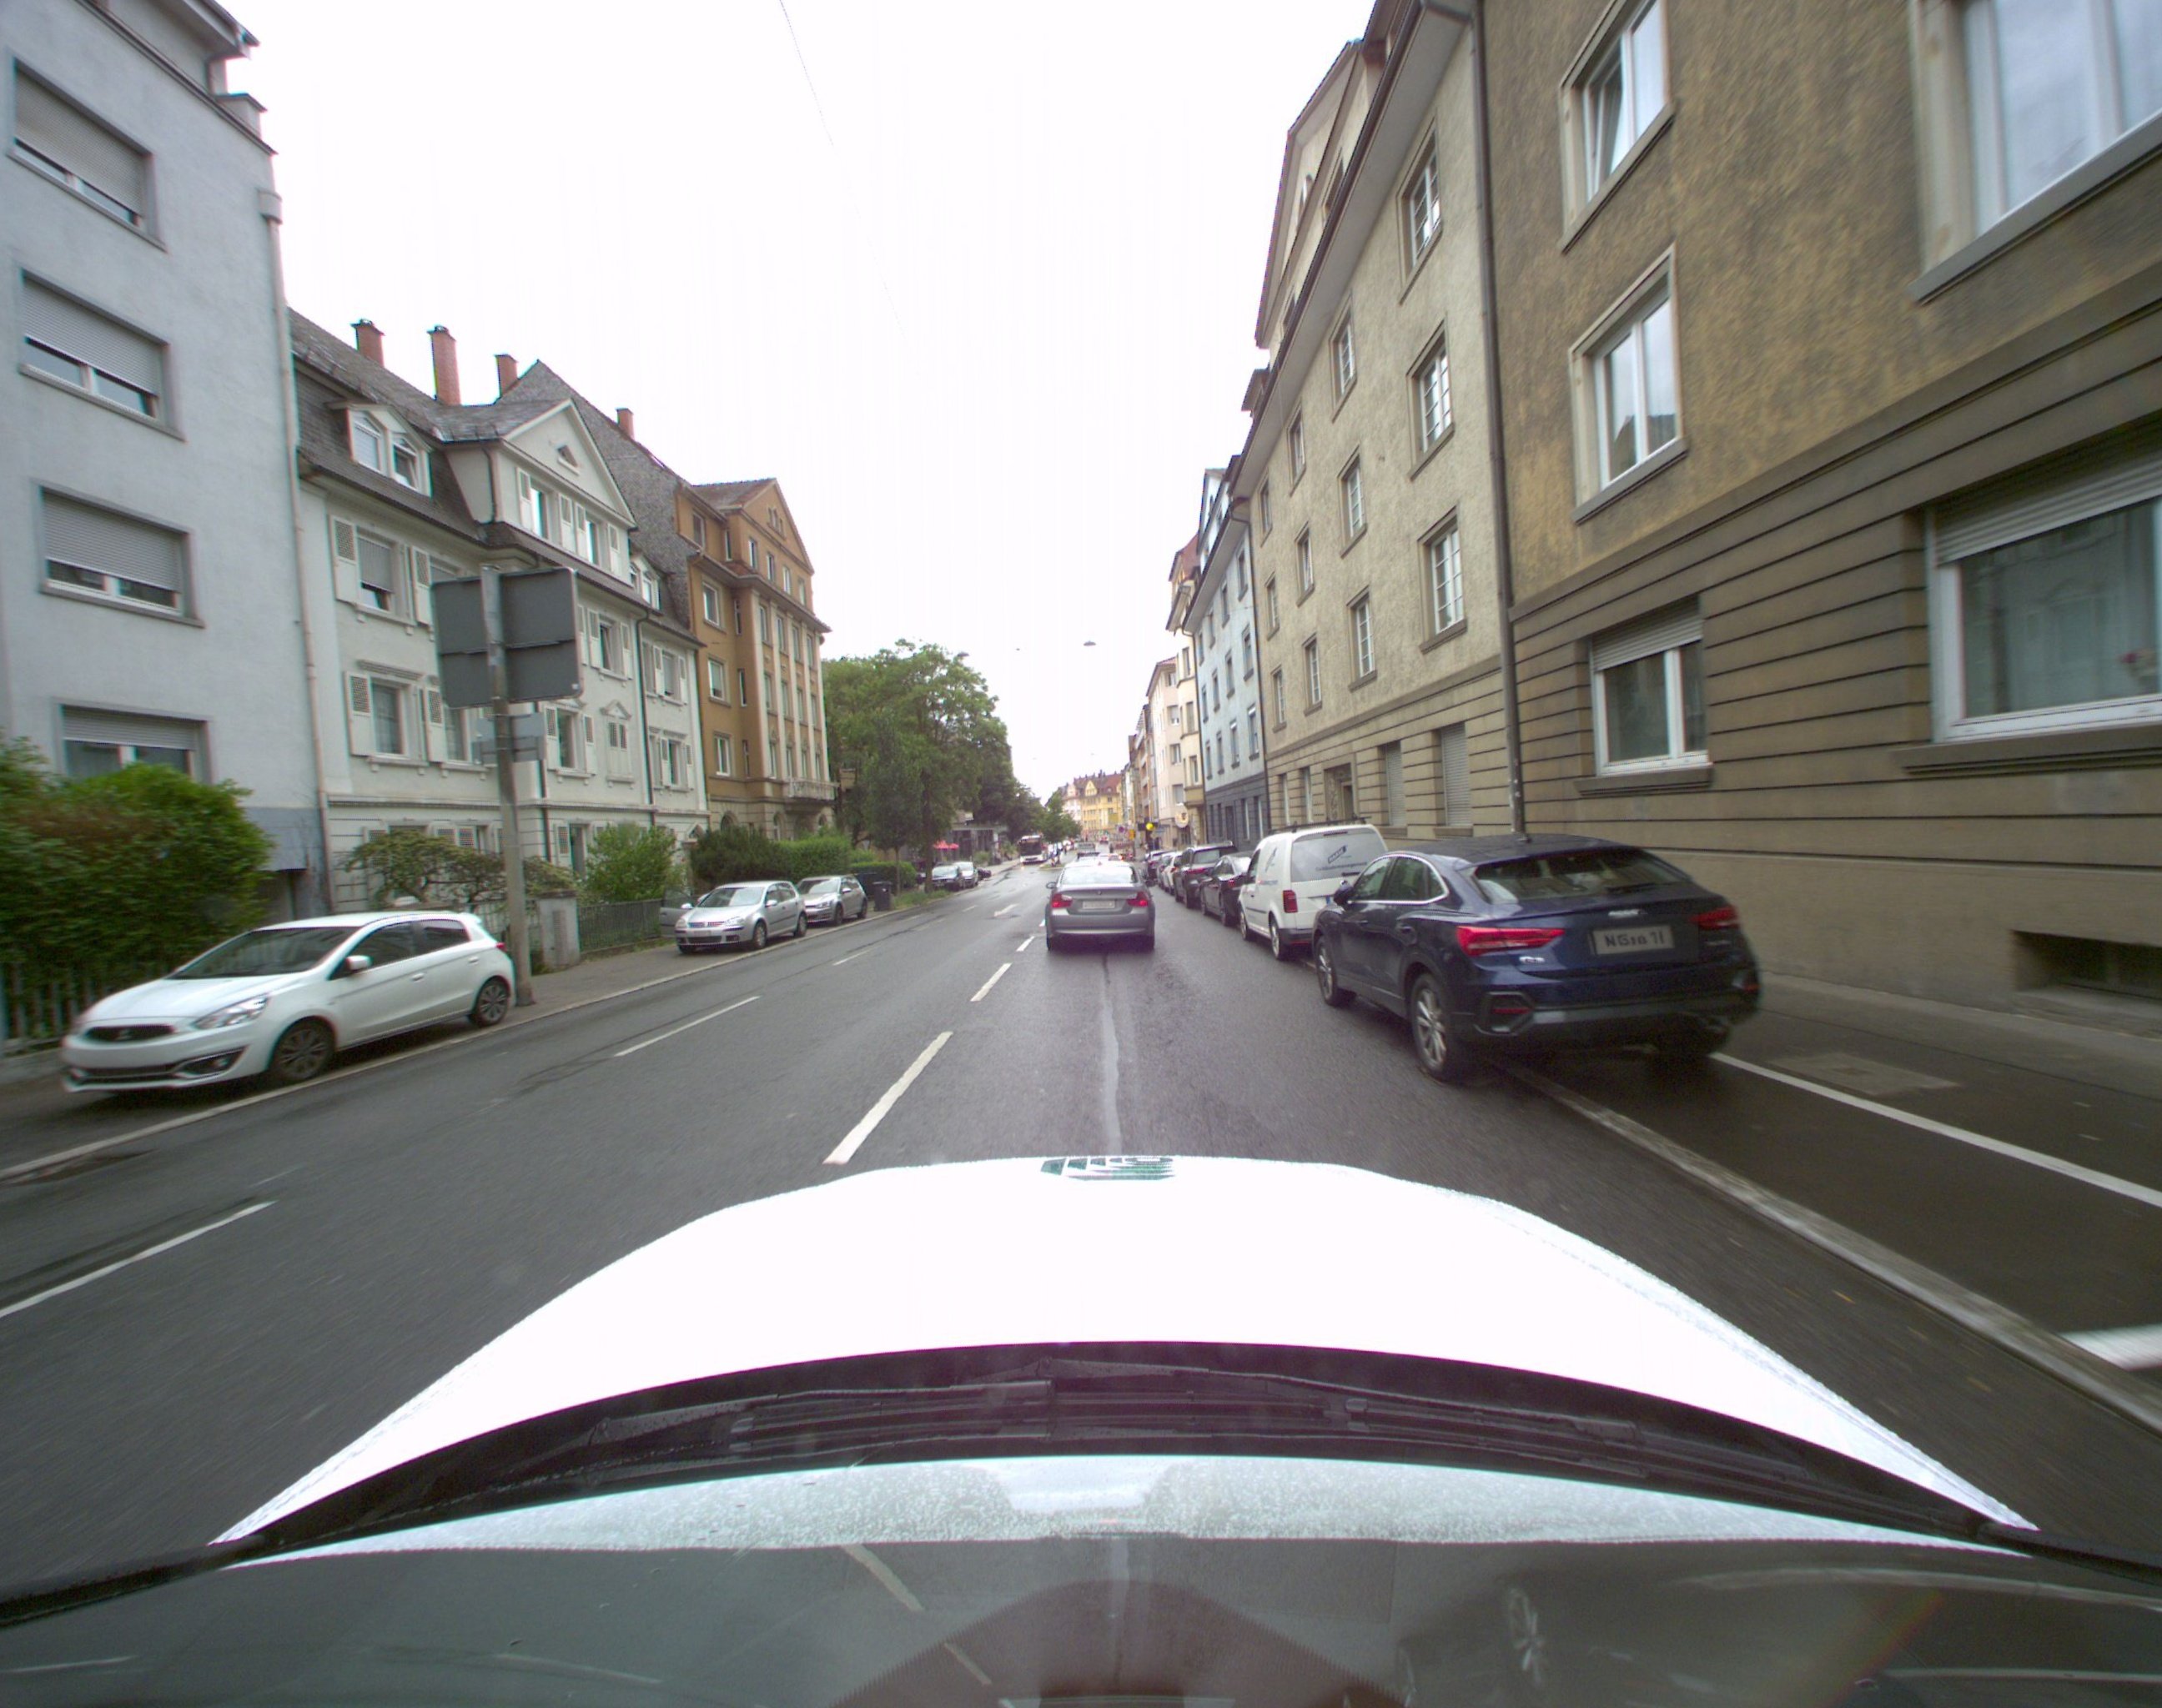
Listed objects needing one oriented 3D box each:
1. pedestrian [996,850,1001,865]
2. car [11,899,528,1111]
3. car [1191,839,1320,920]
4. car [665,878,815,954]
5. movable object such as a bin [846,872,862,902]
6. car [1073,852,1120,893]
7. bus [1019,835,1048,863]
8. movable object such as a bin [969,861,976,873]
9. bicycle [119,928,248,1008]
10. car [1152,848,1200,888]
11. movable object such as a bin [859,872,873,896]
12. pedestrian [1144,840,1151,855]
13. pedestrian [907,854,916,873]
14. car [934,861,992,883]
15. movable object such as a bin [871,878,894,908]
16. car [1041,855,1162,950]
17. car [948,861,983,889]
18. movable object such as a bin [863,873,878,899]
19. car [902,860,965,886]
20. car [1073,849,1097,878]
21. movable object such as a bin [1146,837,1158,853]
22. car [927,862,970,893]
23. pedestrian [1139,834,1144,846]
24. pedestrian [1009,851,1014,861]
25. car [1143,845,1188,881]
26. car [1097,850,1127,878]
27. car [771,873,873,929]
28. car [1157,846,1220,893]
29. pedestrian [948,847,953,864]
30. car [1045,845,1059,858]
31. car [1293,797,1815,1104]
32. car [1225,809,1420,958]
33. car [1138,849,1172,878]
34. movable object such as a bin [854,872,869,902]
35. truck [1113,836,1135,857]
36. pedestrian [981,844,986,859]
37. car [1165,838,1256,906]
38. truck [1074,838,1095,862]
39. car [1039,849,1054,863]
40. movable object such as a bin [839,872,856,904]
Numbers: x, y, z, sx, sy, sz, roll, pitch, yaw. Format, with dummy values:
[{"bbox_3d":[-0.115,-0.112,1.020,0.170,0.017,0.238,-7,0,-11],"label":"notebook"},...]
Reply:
[{"bbox_3d":[-9.343,0.392,92.074,0.542,1.709,0.465,-1,-1,-6],"label":"pedestrian"},{"bbox_3d":[-8.050,1.357,8.684,1.641,1.508,3.796,-3,-1,0],"label":"car"},{"bbox_3d":[3.701,0.502,18.084,1.835,1.409,4.387,-6,0,0],"label":"car"},{"bbox_3d":[-7.781,1.363,18.989,1.676,1.390,3.911,-3,0,2],"label":"car"},{"bbox_3d":[-10.077,1.463,36.130,0.438,1.308,0.650,-4,0,0],"label":"movable object such as a bin"},{"bbox_3d":[0.538,0.665,29.983,1.597,1.420,3.286,-1,-1,-1],"label":"car"},{"bbox_3d":[-5.647,-0.505,97.927,2.672,3.201,11.954,-1,-1,0],"label":"bus"},{"bbox_3d":[-9.885,1.156,74.300,0.488,1.081,0.606,-4,-1,1],"label":"movable object such as a bin"},{"bbox_3d":[-13.863,1.754,12.597,1.416,1.089,0.484,-3,0,1],"label":"bicycle"},{"bbox_3d":[3.979,0.552,34.591,1.577,1.429,3.596,-6,0,1],"label":"car"},{"bbox_3d":[-9.983,1.382,37.781,0.425,1.040,0.650,-4,0,0],"label":"movable object such as a bin"},{"bbox_3d":[7.202,-0.701,88.221,0.749,1.661,0.752,-1,-1,1],"label":"pedestrian"},{"bbox_3d":[-16.580,0.944,79.873,0.636,1.816,0.633,-4,1,-25],"label":"pedestrian"},{"bbox_3d":[-8.280,1.243,57.322,3.803,1.390,1.742,-2,-1,0],"label":"car"},{"bbox_3d":[-7.291,1.433,29.912,0.627,1.058,0.600,-4,-1,1],"label":"movable object such as a bin"},{"bbox_3d":[0.339,0.742,13.747,1.749,1.362,3.165,-2,-1,1],"label":"car"},{"bbox_3d":[-6.856,1.209,48.667,1.628,1.454,3.836,-3,0,-2],"label":"car"},{"bbox_3d":[-9.957,1.509,38.508,0.438,1.130,0.657,-4,0,0],"label":"movable object such as a bin"},{"bbox_3d":[-9.852,1.256,54.594,3.800,1.389,1.744,-4,1,3],"label":"car"},{"bbox_3d":[0.255,0.695,60.142,1.700,2.014,3.998,-1,-1,-1],"label":"car"},{"bbox_3d":[7.946,-0.973,91.410,1.119,1.702,1.433,-4,-1,-1],"label":"movable object such as a bin"},{"bbox_3d":[-7.119,1.221,44.151,1.649,1.454,3.941,-4,0,0],"label":"car"},{"bbox_3d":[8.557,-1.982,114.571,0.611,1.661,0.756,-1,-1,7],"label":"pedestrian"},{"bbox_3d":[-9.199,0.256,107.842,0.617,1.378,0.545,-1,-1,2],"label":"pedestrian"},{"bbox_3d":[4.191,0.420,40.825,1.811,1.557,4.295,-5,0,2],"label":"car"},{"bbox_3d":[1.613,0.525,41.796,1.430,1.356,3.764,-1,-1,3],"label":"car"},{"bbox_3d":[-7.730,1.352,24.693,1.676,1.390,3.937,-3,0,2],"label":"car"},{"bbox_3d":[3.866,0.536,29.951,1.723,1.429,3.974,-6,0,1],"label":"car"},{"bbox_3d":[-13.794,0.125,85.882,0.464,1.790,0.544,-1,-1,-3],"label":"pedestrian"},{"bbox_3d":[-4.736,-0.346,133.914,1.987,2.014,3.999,-1,-1,0],"label":"car"},{"bbox_3d":[3.160,0.524,6.613,1.784,1.548,4.227,-5,0,2],"label":"car"},{"bbox_3d":[3.552,0.379,12.799,1.784,1.817,4.081,-5,0,1],"label":"car"},{"bbox_3d":[4.182,0.507,46.641,1.563,1.464,4.090,-5,0,2],"label":"car"},{"bbox_3d":[-10.004,1.492,37.077,0.438,1.308,0.609,-4,0,0],"label":"movable object such as a bin"},{"bbox_3d":[4.397,-0.713,84.272,2.207,2.117,4.655,0,0,2],"label":"truck"},{"bbox_3d":[-11.438,-0.278,95.196,0.542,1.790,0.507,-1,-1,-8],"label":"pedestrian"},{"bbox_3d":[3.591,0.474,23.330,1.835,1.621,4.208,-5,0,0],"label":"car"},{"bbox_3d":[0.406,-0.419,91.547,2.209,2.544,4.779,-1,-1,0],"label":"truck"},{"bbox_3d":[-5.024,0.278,118.333,1.987,2.014,3.999,0,-1,0],"label":"car"},{"bbox_3d":[-10.065,1.462,35.120,0.438,1.299,0.650,-4,0,0],"label":"movable object such as a bin"}]
